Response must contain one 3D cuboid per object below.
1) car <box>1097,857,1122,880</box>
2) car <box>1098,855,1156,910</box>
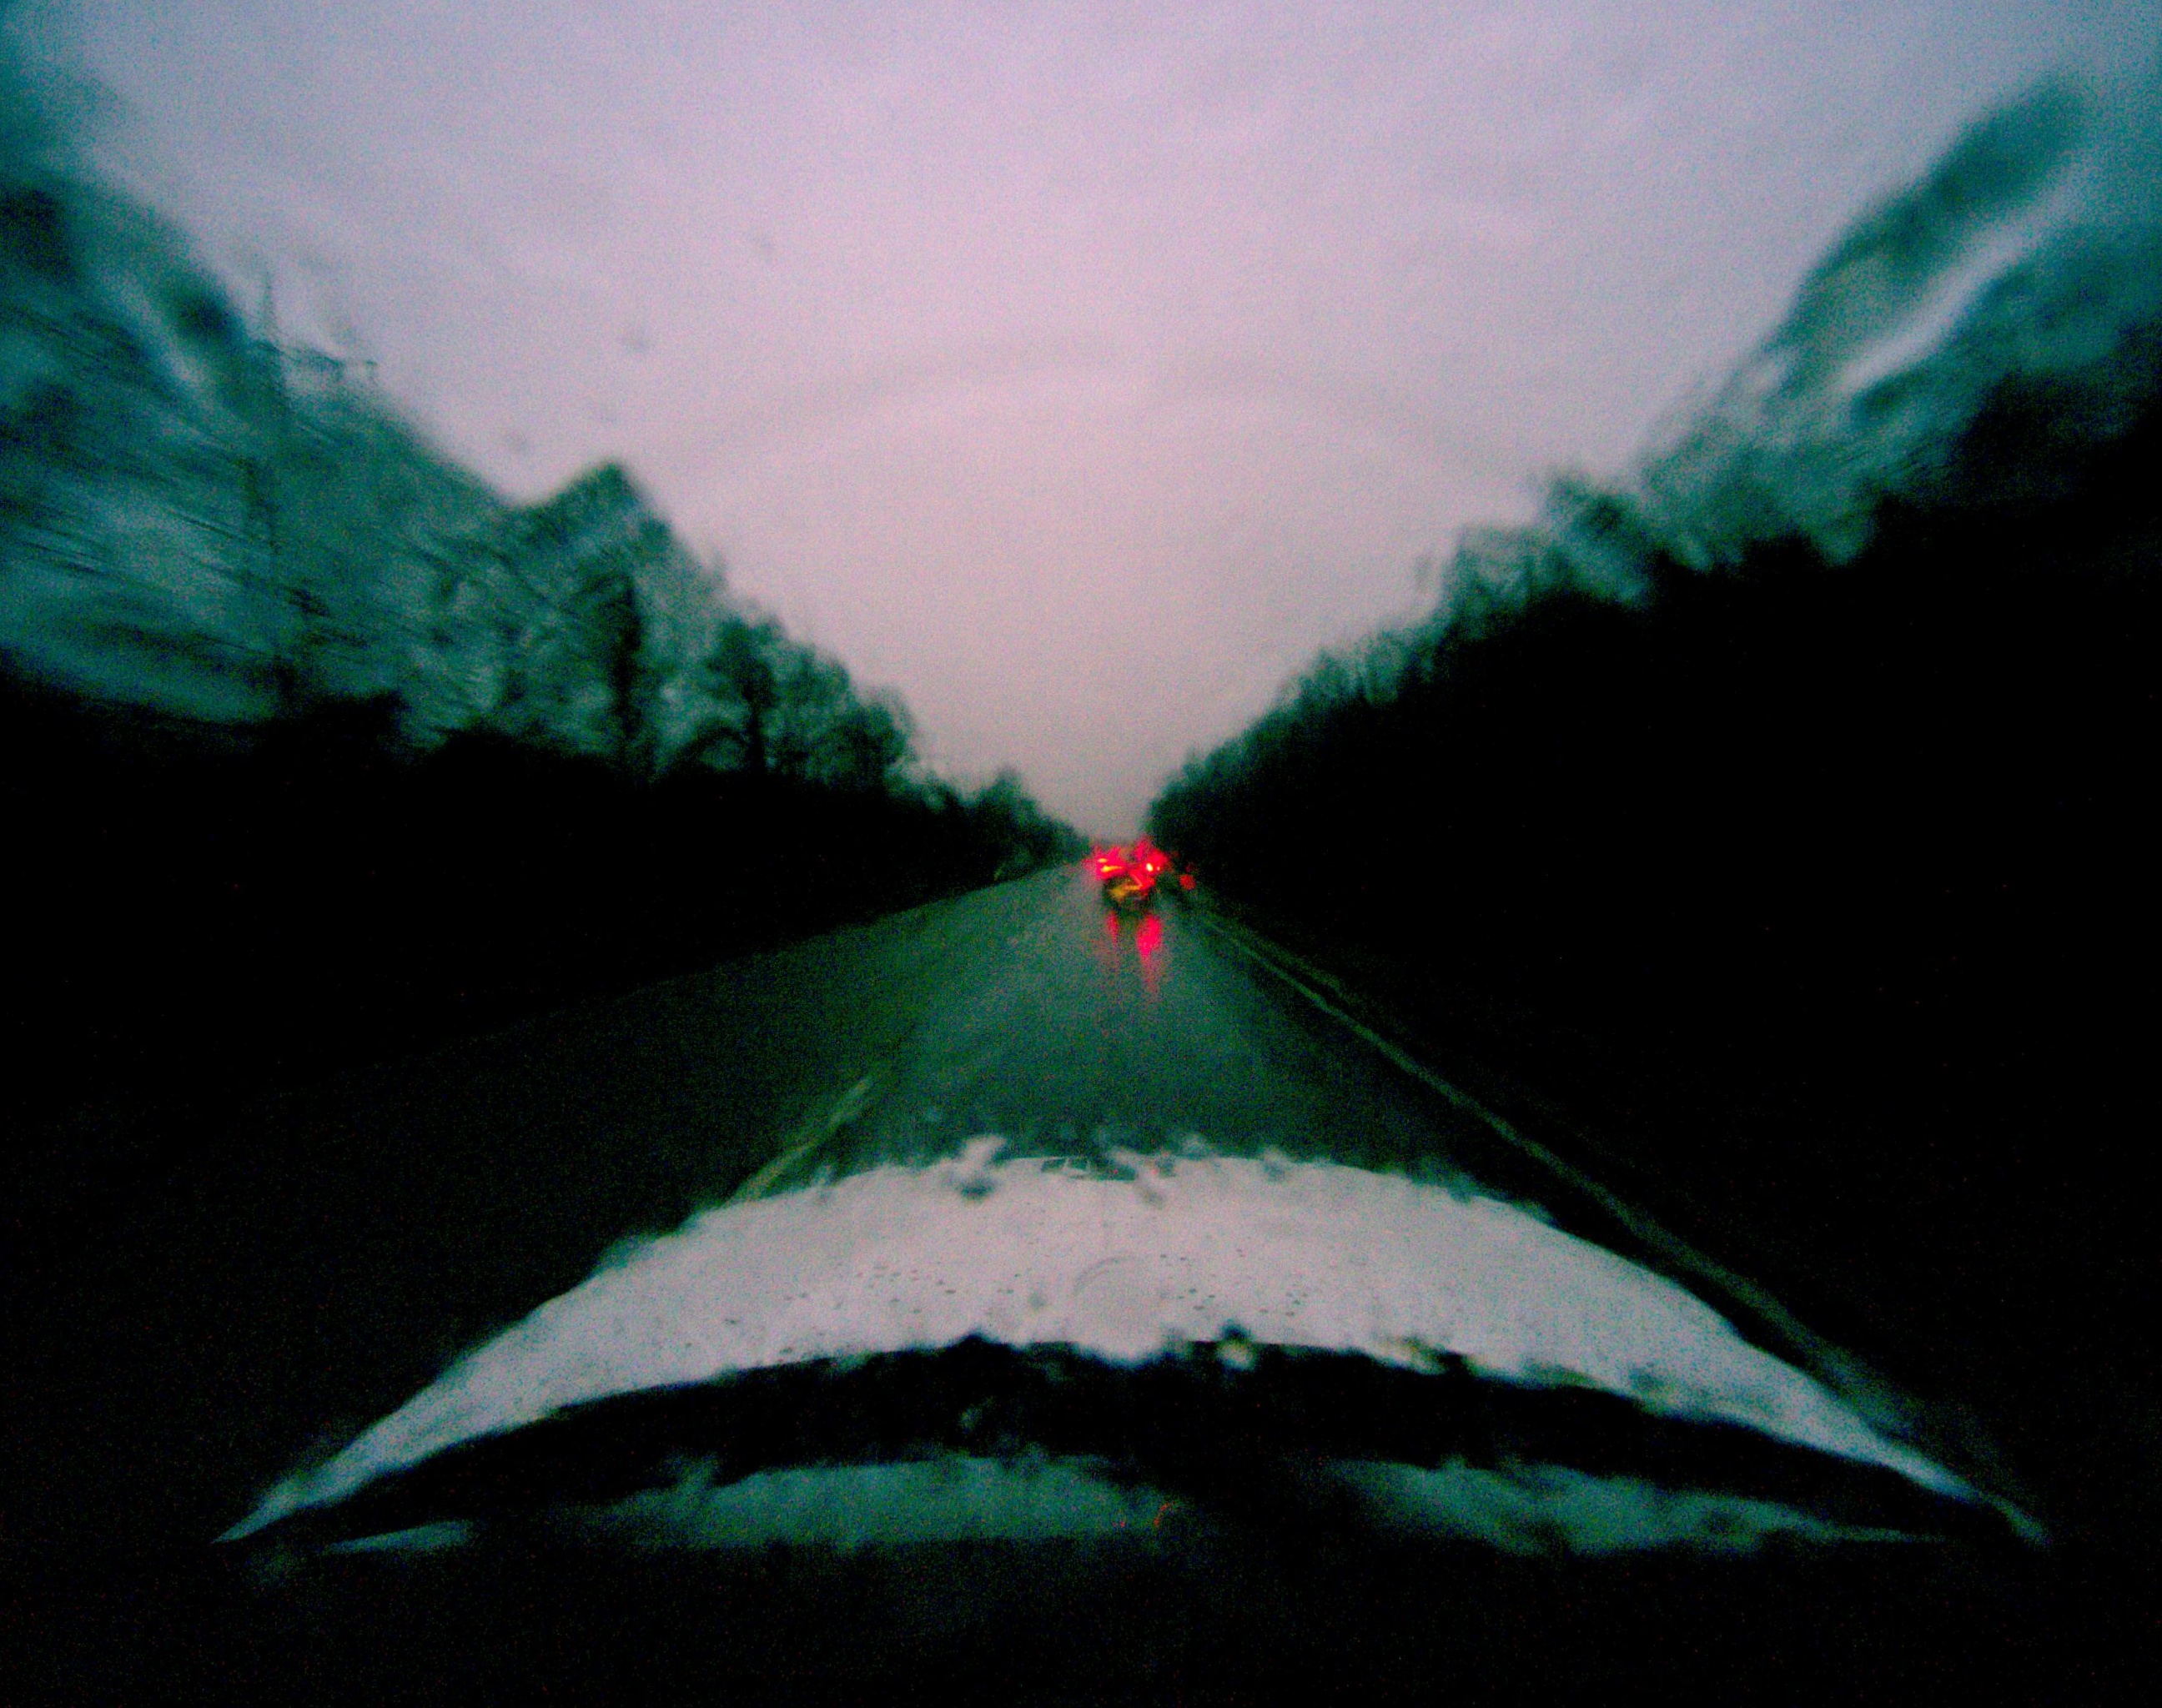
[{"bbox_3d":[2.127,1.047,60.183,1.720,1.643,4.003,-1,-1,3],"label":"car"},{"bbox_3d":[1.488,0.870,26.441,1.720,1.643,4.003,-1,-1,3],"label":"car"}]
